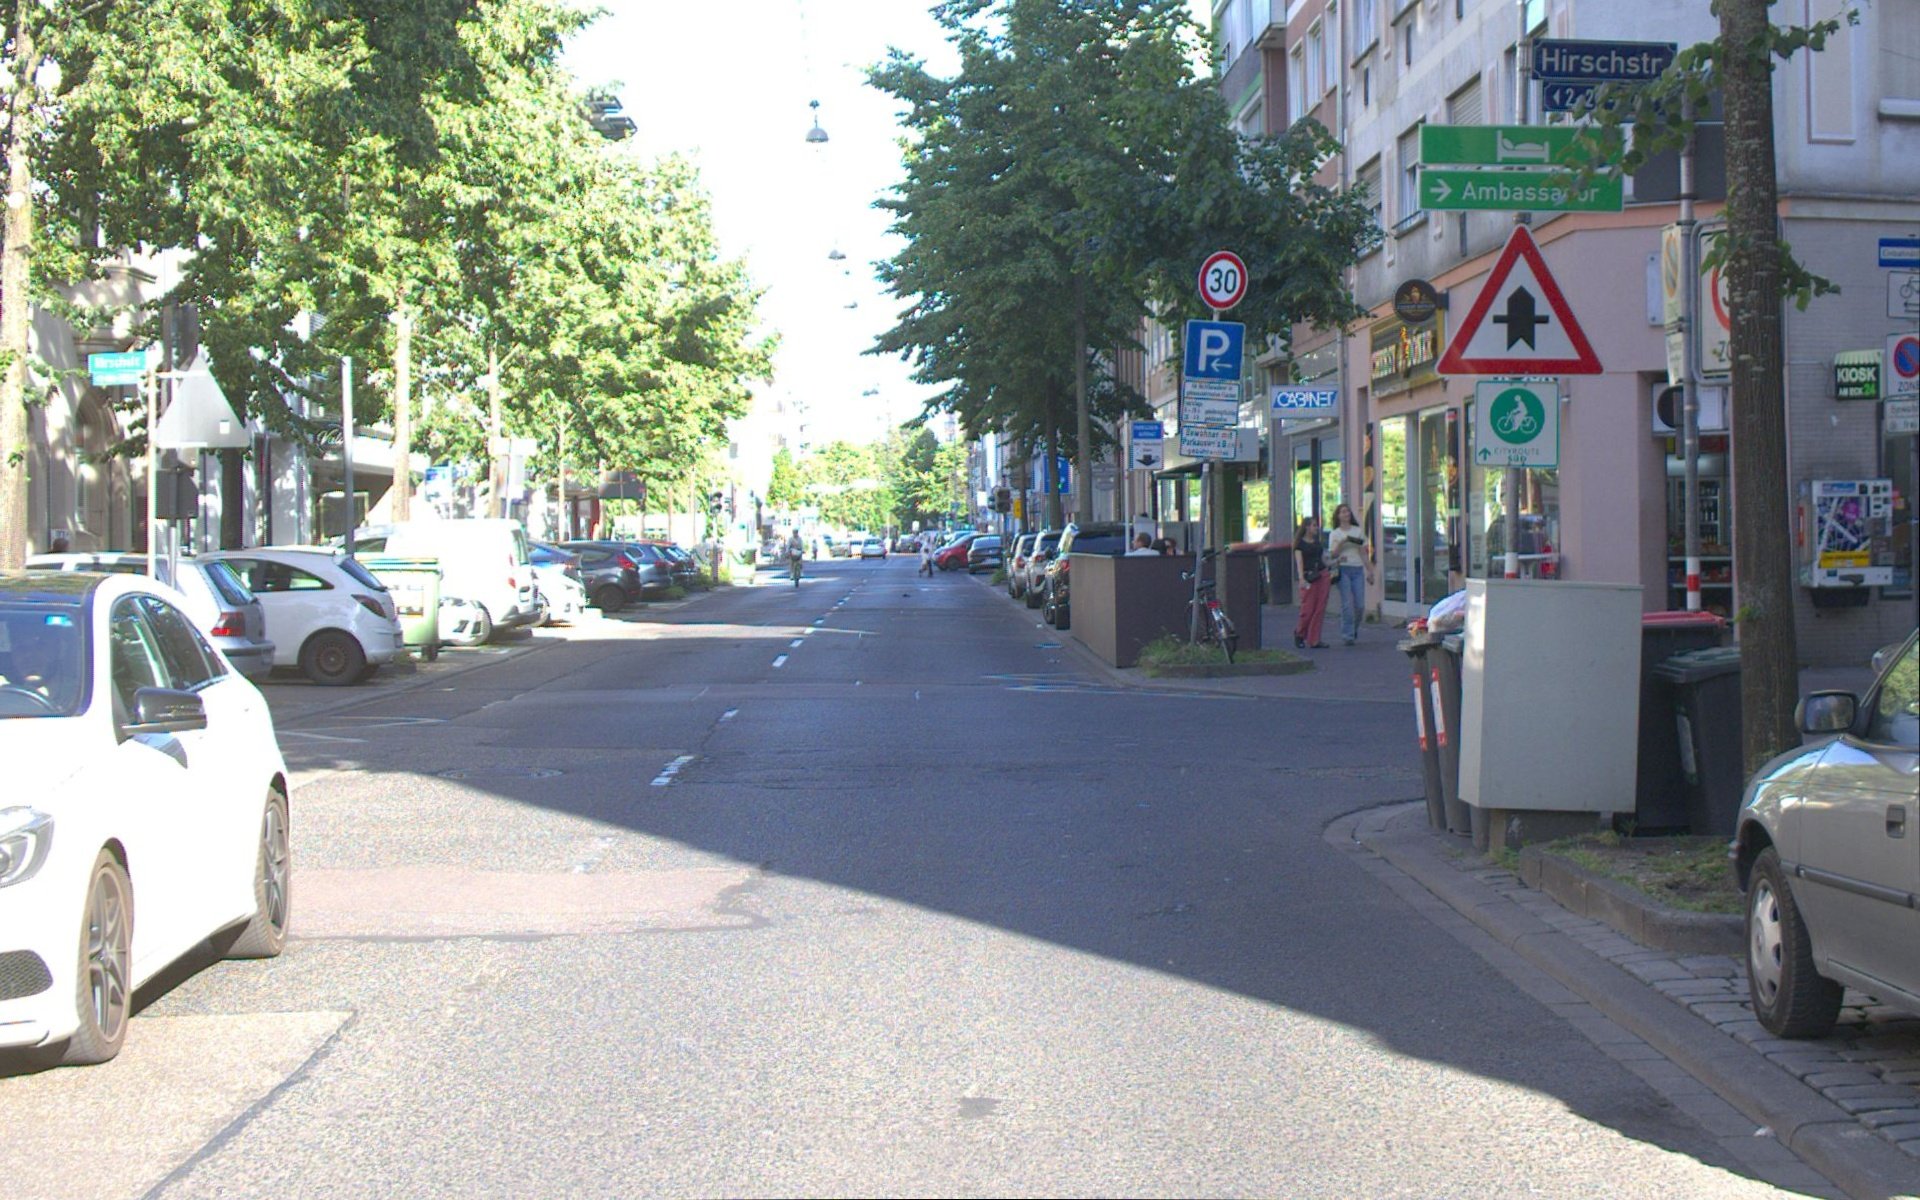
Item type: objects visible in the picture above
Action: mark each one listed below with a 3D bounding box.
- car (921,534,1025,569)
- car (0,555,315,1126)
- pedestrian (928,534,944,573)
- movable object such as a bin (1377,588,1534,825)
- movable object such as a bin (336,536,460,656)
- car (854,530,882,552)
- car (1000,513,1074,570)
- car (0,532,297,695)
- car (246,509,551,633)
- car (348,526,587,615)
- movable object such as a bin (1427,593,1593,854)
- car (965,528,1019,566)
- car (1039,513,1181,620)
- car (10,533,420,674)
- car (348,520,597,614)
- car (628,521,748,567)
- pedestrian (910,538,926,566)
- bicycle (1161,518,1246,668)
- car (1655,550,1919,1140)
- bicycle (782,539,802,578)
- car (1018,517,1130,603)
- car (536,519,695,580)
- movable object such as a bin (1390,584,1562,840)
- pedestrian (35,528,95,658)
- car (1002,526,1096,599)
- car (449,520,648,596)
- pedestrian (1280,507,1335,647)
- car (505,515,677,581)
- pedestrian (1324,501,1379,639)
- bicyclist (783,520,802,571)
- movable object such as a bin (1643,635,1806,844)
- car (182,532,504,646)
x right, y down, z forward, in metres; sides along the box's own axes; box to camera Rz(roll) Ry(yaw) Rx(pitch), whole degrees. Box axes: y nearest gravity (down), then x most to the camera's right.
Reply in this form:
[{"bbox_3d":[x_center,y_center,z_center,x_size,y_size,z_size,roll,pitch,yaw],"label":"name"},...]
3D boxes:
[{"bbox_3d":[0.547,-2.059,145.425,3.987,1.437,2.000,-1,1,-35],"label":"car"},{"bbox_3d":[-3.315,0.592,10.993,1.802,1.430,4.410,0,1,-2],"label":"car"},{"bbox_3d":[-0.913,-1.748,129.592,0.545,1.467,0.546,-2,1,-3],"label":"pedestrian"},{"bbox_3d":[2.565,0.540,17.836,0.659,1.175,0.739,-1,1,-3],"label":"movable object such as a bin"},{"bbox_3d":[-7.142,-0.063,43.783,1.334,1.473,1.480,-1,1,-1],"label":"movable object such as a bin"},{"bbox_3d":[-6.102,-3.940,228.735,1.792,1.406,4.001,-1,2,-1],"label":"car"},{"bbox_3d":[2.259,-1.743,101.304,1.993,1.604,4.001,-1,2,-1],"label":"car"},{"bbox_3d":[-8.223,0.114,31.311,3.986,1.385,2.000,-1,2,-2],"label":"car"},{"bbox_3d":[-8.128,-0.440,50.007,3.987,1.688,2.000,-1,1,4],"label":"car"},{"bbox_3d":[-8.743,-0.525,61.326,3.986,1.495,2.000,-1,0,-2],"label":"car"},{"bbox_3d":[2.593,0.570,16.256,0.621,1.175,0.712,-1,1,-3],"label":"movable object such as a bin"},{"bbox_3d":[1.245,-2.094,136.322,1.993,1.503,4.000,0,1,-1],"label":"car"},{"bbox_3d":[2.353,-0.562,54.959,1.993,1.604,4.001,-1,2,-1],"label":"car"},{"bbox_3d":[-7.977,0.018,37.101,3.986,1.385,2.000,-1,2,-2],"label":"car"},{"bbox_3d":[-8.306,-0.579,58.823,3.986,1.494,2.000,-1,1,-2],"label":"car"},{"bbox_3d":[-9.303,-1.921,117.727,3.986,1.494,2.000,-1,1,-2],"label":"car"},{"bbox_3d":[-1.564,-1.795,129.089,0.545,1.023,0.546,-2,1,-3],"label":"pedestrian"},{"bbox_3d":[2.488,-0.089,35.296,0.560,1.436,1.628,-7,2,-1],"label":"bicycle"},{"bbox_3d":[3.217,0.575,8.778,1.822,1.386,4.301,-3,1,-2],"label":"car"},{"bbox_3d":[-5.161,-1.269,105.625,0.560,1.176,1.628,0,1,-1],"label":"bicycle"},{"bbox_3d":[2.228,-0.815,68.332,1.993,1.604,4.001,-1,2,-1],"label":"car"},{"bbox_3d":[-8.972,-1.338,89.781,3.986,1.494,2.000,-1,1,-2],"label":"car"},{"bbox_3d":[2.558,0.543,17.094,0.705,1.218,0.681,-1,1,-3],"label":"movable object such as a bin"},{"bbox_3d":[-11.545,-0.098,44.357,0.547,1.644,0.664,-1,1,1],"label":"pedestrian"},{"bbox_3d":[2.070,-0.900,80.973,1.993,1.604,4.001,-1,2,-1],"label":"car"},{"bbox_3d":[-8.688,-0.904,72.770,3.986,1.494,2.000,-1,1,-2],"label":"car"},{"bbox_3d":[4.153,-0.282,41.117,0.547,1.644,0.664,-1,1,-1],"label":"pedestrian"},{"bbox_3d":[-8.948,-1.273,83.534,3.986,1.494,2.000,-1,1,-2],"label":"car"},{"bbox_3d":[4.727,-0.366,41.546,0.547,1.644,0.664,-1,1,-1],"label":"pedestrian"},{"bbox_3d":[-5.145,-1.671,105.636,0.560,1.542,0.728,0,0,-1],"label":"bicyclist"},{"bbox_3d":[3.441,0.619,15.505,0.562,0.892,0.628,-1,1,-3],"label":"movable object such as a bin"},{"bbox_3d":[-8.438,-0.169,47.210,3.987,1.452,1.868,-1,1,4],"label":"car"}]
